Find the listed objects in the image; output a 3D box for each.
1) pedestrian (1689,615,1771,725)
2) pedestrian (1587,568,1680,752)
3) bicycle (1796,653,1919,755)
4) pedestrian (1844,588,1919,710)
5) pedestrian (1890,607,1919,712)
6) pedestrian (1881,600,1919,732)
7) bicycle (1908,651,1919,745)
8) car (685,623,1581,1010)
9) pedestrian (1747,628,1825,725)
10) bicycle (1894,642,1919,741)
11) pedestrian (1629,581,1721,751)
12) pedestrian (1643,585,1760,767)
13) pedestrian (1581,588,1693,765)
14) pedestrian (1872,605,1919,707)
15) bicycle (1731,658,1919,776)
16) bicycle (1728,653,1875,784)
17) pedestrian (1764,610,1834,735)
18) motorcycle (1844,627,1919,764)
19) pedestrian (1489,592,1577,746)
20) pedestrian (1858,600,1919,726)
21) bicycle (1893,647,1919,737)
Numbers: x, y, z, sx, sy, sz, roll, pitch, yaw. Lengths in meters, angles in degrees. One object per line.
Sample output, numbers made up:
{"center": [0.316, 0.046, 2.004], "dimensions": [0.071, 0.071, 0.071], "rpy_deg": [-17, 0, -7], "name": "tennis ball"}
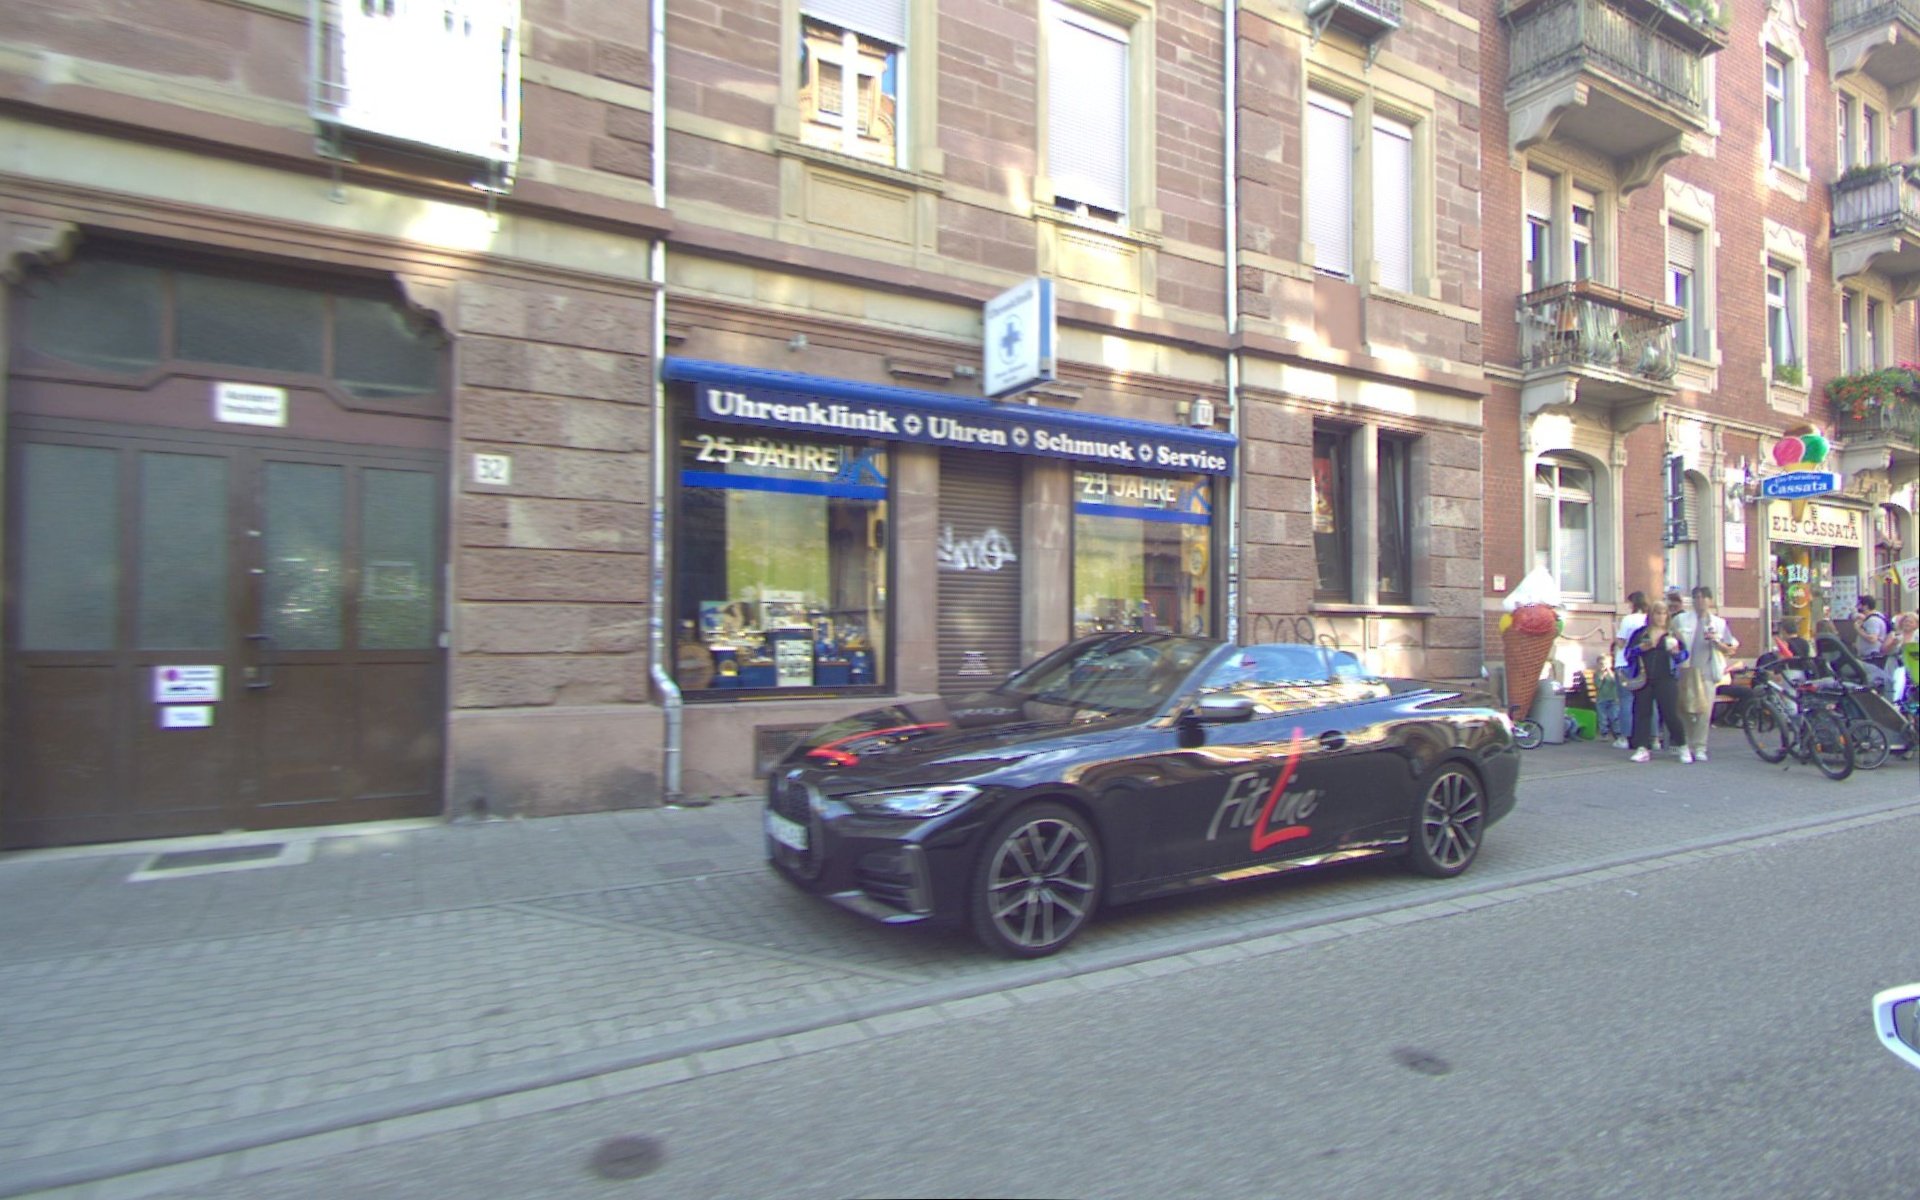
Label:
{"center": [10.739, 0.960, 14.016], "dimensions": [0.714, 1.489, 0.604], "rpy_deg": [1, 0, -19], "name": "pedestrian"}
{"center": [7.691, 0.672, 11.492], "dimensions": [0.617, 2.040, 0.645], "rpy_deg": [1, -1, -1], "name": "pedestrian"}
{"center": [10.640, 1.187, 11.664], "dimensions": [1.710, 1.105, 0.578], "rpy_deg": [1, 0, -17], "name": "bicycle"}
{"center": [14.649, 0.765, 15.977], "dimensions": [0.750, 1.878, 0.664], "rpy_deg": [1, 0, 30], "name": "pedestrian"}
{"center": [15.915, 0.974, 16.608], "dimensions": [0.654, 1.718, 0.585], "rpy_deg": [1, 0, 30], "name": "pedestrian"}
{"center": [13.319, 0.890, 13.782], "dimensions": [0.930, 1.775, 0.604], "rpy_deg": [1, 0, -17], "name": "pedestrian"}
{"center": [12.393, 1.202, 11.912], "dimensions": [1.541, 1.135, 0.590], "rpy_deg": [1, 0, 25], "name": "bicycle"}
{"center": [1.208, 0.844, 5.688], "dimensions": [5.055, 1.369, 1.803], "rpy_deg": [1, -1, -31], "name": "car"}
{"center": [11.855, 1.071, 14.418], "dimensions": [0.600, 1.331, 0.719], "rpy_deg": [1, -1, -32], "name": "pedestrian"}
{"center": [12.819, 1.161, 12.405], "dimensions": [1.757, 1.216, 0.590], "rpy_deg": [1, 0, 25], "name": "bicycle"}
{"center": [8.341, 0.751, 11.737], "dimensions": [0.589, 1.917, 0.648], "rpy_deg": [1, 0, 1], "name": "pedestrian"}
{"center": [7.801, 0.775, 10.600], "dimensions": [0.652, 1.843, 0.763], "rpy_deg": [1, 0, 1], "name": "pedestrian"}
{"center": [7.120, 0.782, 10.592], "dimensions": [0.652, 1.783, 0.763], "rpy_deg": [1, 0, 1], "name": "pedestrian"}
{"center": [16.344, 0.952, 17.354], "dimensions": [0.754, 1.718, 0.661], "rpy_deg": [1, 0, -29], "name": "pedestrian"}
{"center": [8.992, 1.170, 10.483], "dimensions": [0.402, 1.044, 1.684], "rpy_deg": [1, -1, -8], "name": "bicycle"}
{"center": [8.331, 1.124, 10.011], "dimensions": [0.366, 1.132, 1.583], "rpy_deg": [1, -1, 10], "name": "bicycle"}
{"center": [11.382, 0.963, 13.629], "dimensions": [0.577, 1.638, 0.551], "rpy_deg": [1, 0, -29], "name": "pedestrian"}
{"center": [10.778, 1.012, 10.957], "dimensions": [1.990, 1.403, 0.707], "rpy_deg": [1, 0, -15], "name": "motorcycle"}
{"center": [6.885, 0.810, 12.091], "dimensions": [0.652, 1.783, 0.690], "rpy_deg": [1, 0, 1], "name": "pedestrian"}
{"center": [13.592, 0.899, 14.541], "dimensions": [0.714, 1.775, 0.604], "rpy_deg": [1, 0, -19], "name": "pedestrian"}
{"center": [13.212, 1.210, 12.898], "dimensions": [1.705, 1.135, 0.555], "rpy_deg": [1, 0, 25], "name": "bicycle"}
